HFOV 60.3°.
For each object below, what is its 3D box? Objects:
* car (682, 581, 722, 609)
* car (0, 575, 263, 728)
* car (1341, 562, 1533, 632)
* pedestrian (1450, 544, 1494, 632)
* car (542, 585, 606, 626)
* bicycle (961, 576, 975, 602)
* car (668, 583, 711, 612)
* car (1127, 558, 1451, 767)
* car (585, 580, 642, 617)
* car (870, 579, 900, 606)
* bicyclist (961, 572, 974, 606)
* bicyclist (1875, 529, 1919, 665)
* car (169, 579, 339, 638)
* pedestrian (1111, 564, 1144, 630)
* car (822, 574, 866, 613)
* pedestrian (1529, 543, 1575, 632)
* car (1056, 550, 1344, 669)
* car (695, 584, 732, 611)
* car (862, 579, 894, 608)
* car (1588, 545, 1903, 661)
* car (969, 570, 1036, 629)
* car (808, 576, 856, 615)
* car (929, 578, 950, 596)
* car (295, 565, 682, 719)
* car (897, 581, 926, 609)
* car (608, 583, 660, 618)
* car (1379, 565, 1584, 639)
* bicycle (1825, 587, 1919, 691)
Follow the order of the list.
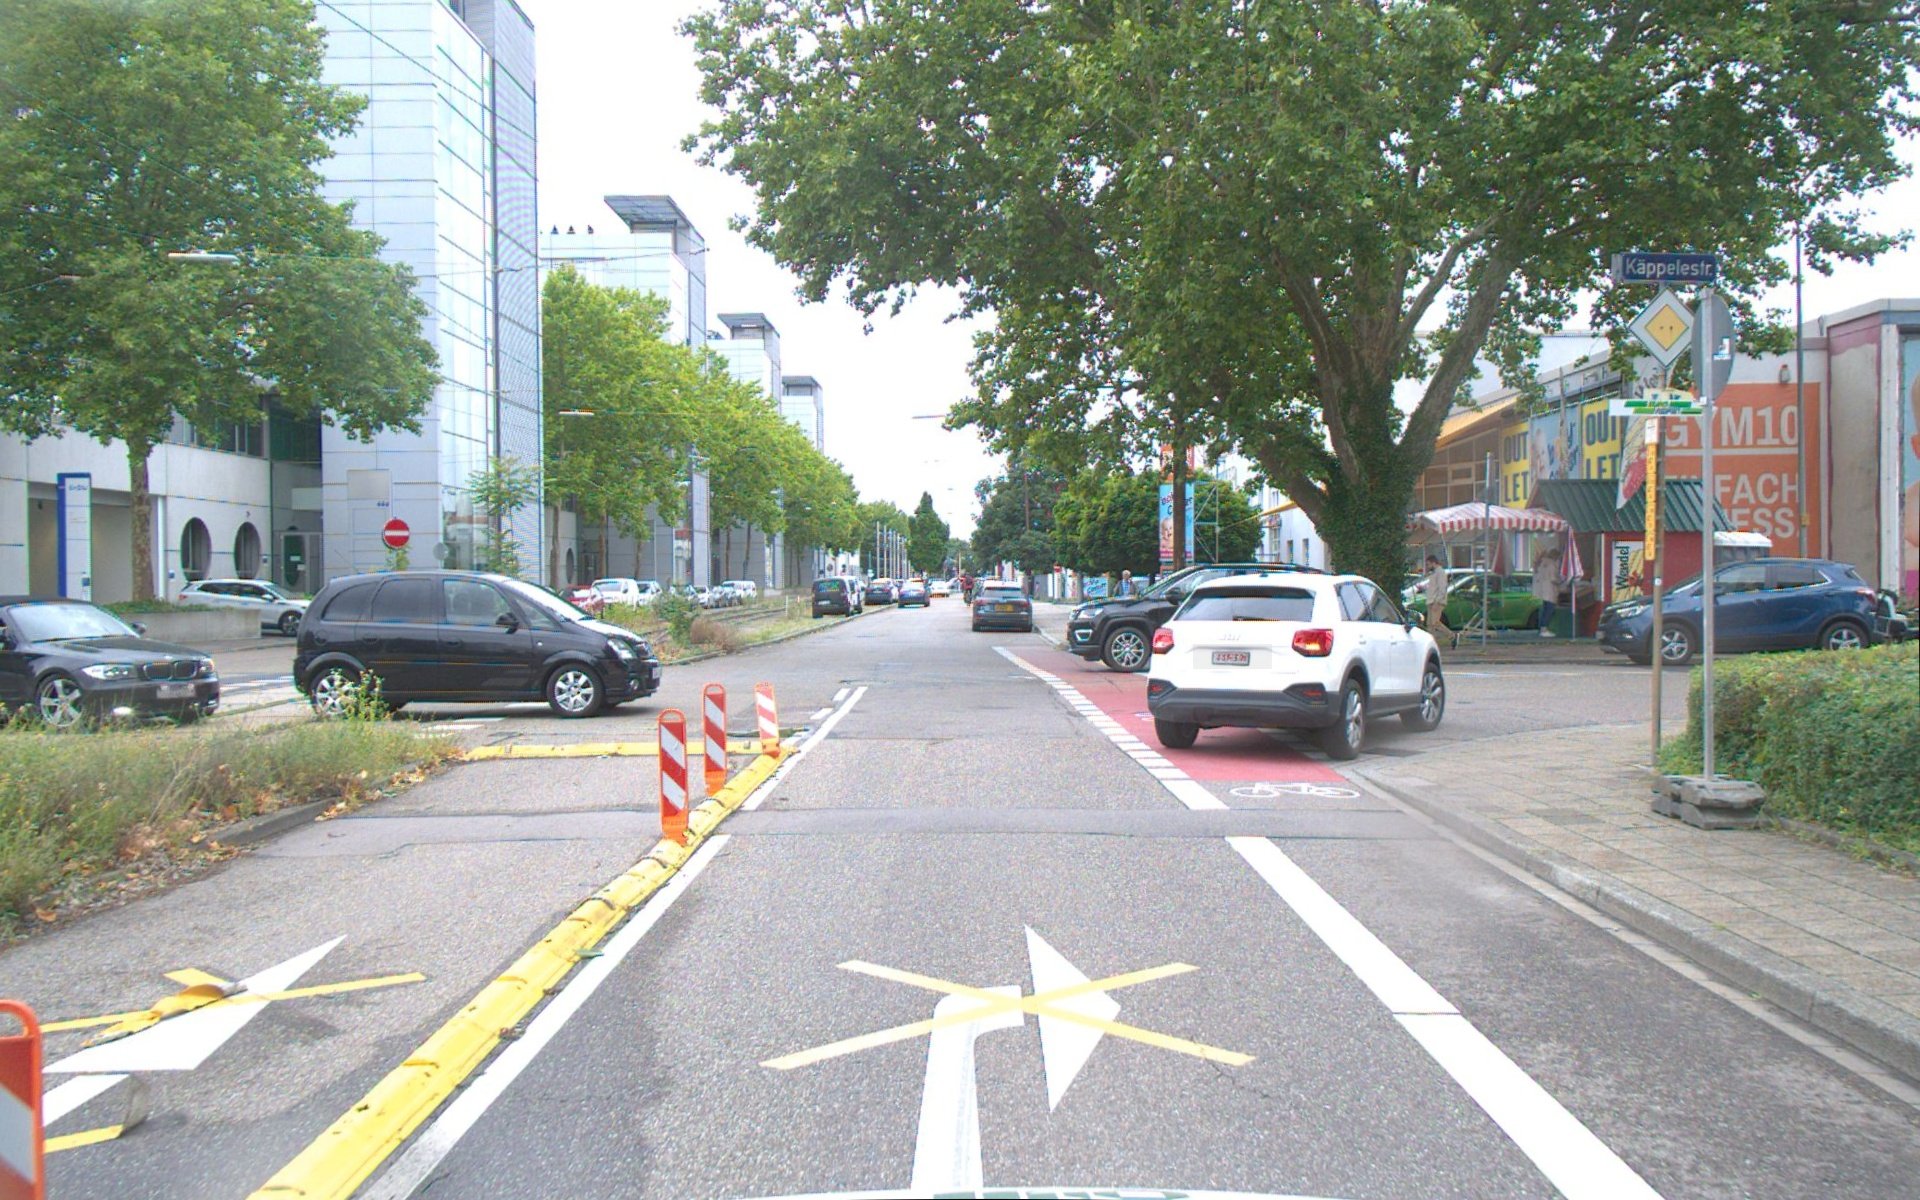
[{"bbox_3d":[-15.960,-0.311,102.644,1.839,1.661,4.205,-1,1,-1],"label":"car"},{"bbox_3d":[-9.823,0.583,17.999,4.033,1.501,1.825,-2,-1,23],"label":"car"},{"bbox_3d":[11.550,-0.079,40.236,4.128,1.579,1.789,-1,0,-2],"label":"car"},{"bbox_3d":[10.330,-0.243,33.375,0.665,1.734,0.598,-1,0,-2],"label":"pedestrian"},{"bbox_3d":[-16.694,0.220,71.707,1.839,1.661,4.000,-1,1,-1],"label":"car"},{"bbox_3d":[0.427,-0.621,91.218,0.657,1.418,2.166,1,1,-2],"label":"bicycle"},{"bbox_3d":[-15.885,-0.164,97.354,1.839,1.661,4.205,-1,1,-1],"label":"car"},{"bbox_3d":[3.127,0.445,15.157,1.790,1.628,3.768,1,2,30],"label":"car"},{"bbox_3d":[-16.423,-0.115,78.625,1.839,1.661,4.205,-1,1,-1],"label":"car"},{"bbox_3d":[-5.105,-0.528,112.884,1.839,1.794,4.000,-1,1,-1],"label":"car"},{"bbox_3d":[0.420,-0.622,91.362,0.657,1.847,0.759,1,1,-3],"label":"bicyclist"},{"bbox_3d":[12.246,-0.055,20.627,1.208,1.658,0.817,-1,0,-9],"label":"bicyclist"},{"bbox_3d":[-21.821,0.249,51.229,4.421,1.699,1.824,1,0,-3],"label":"car"},{"bbox_3d":[4.486,-0.083,44.368,0.745,1.734,0.681,-1,0,-5],"label":"pedestrian"},{"bbox_3d":[-5.553,-0.317,79.267,1.839,1.794,4.000,-1,1,-1],"label":"car"},{"bbox_3d":[11.749,-0.242,32.838,0.665,1.734,0.598,-1,0,-2],"label":"pedestrian"},{"bbox_3d":[3.664,0.130,25.847,4.225,1.706,1.993,-1,0,1],"label":"car"},{"bbox_3d":[-16.013,-0.203,107.602,1.839,1.661,4.205,-1,1,-1],"label":"car"},{"bbox_3d":[-5.318,-0.431,107.671,1.839,1.794,4.000,-1,1,-1],"label":"car"},{"bbox_3d":[12.427,0.039,26.428,4.123,1.706,1.994,-1,0,8],"label":"car"},{"bbox_3d":[1.239,-0.032,49.694,1.839,1.661,4.000,-1,1,-1],"label":"car"},{"bbox_3d":[-5.655,-0.222,73.451,1.839,1.661,4.000,-1,1,-1],"label":"car"},{"bbox_3d":[-1.902,-1.174,151.005,1.759,1.540,3.704,1,1,-2],"label":"car"},{"bbox_3d":[-5.217,0.451,18.667,3.803,1.583,1.825,1,0,0],"label":"car"},{"bbox_3d":[-2.848,-0.309,97.450,1.650,1.540,3.704,1,1,-2],"label":"car"},{"bbox_3d":[-16.512,-0.013,83.898,1.839,1.661,4.205,-1,1,-1],"label":"car"},{"bbox_3d":[11.954,0.042,38.090,4.128,1.579,1.789,-1,0,-2],"label":"car"},{"bbox_3d":[12.257,0.452,20.633,2.625,1.234,0.817,-1,0,-9],"label":"bicycle"}]
